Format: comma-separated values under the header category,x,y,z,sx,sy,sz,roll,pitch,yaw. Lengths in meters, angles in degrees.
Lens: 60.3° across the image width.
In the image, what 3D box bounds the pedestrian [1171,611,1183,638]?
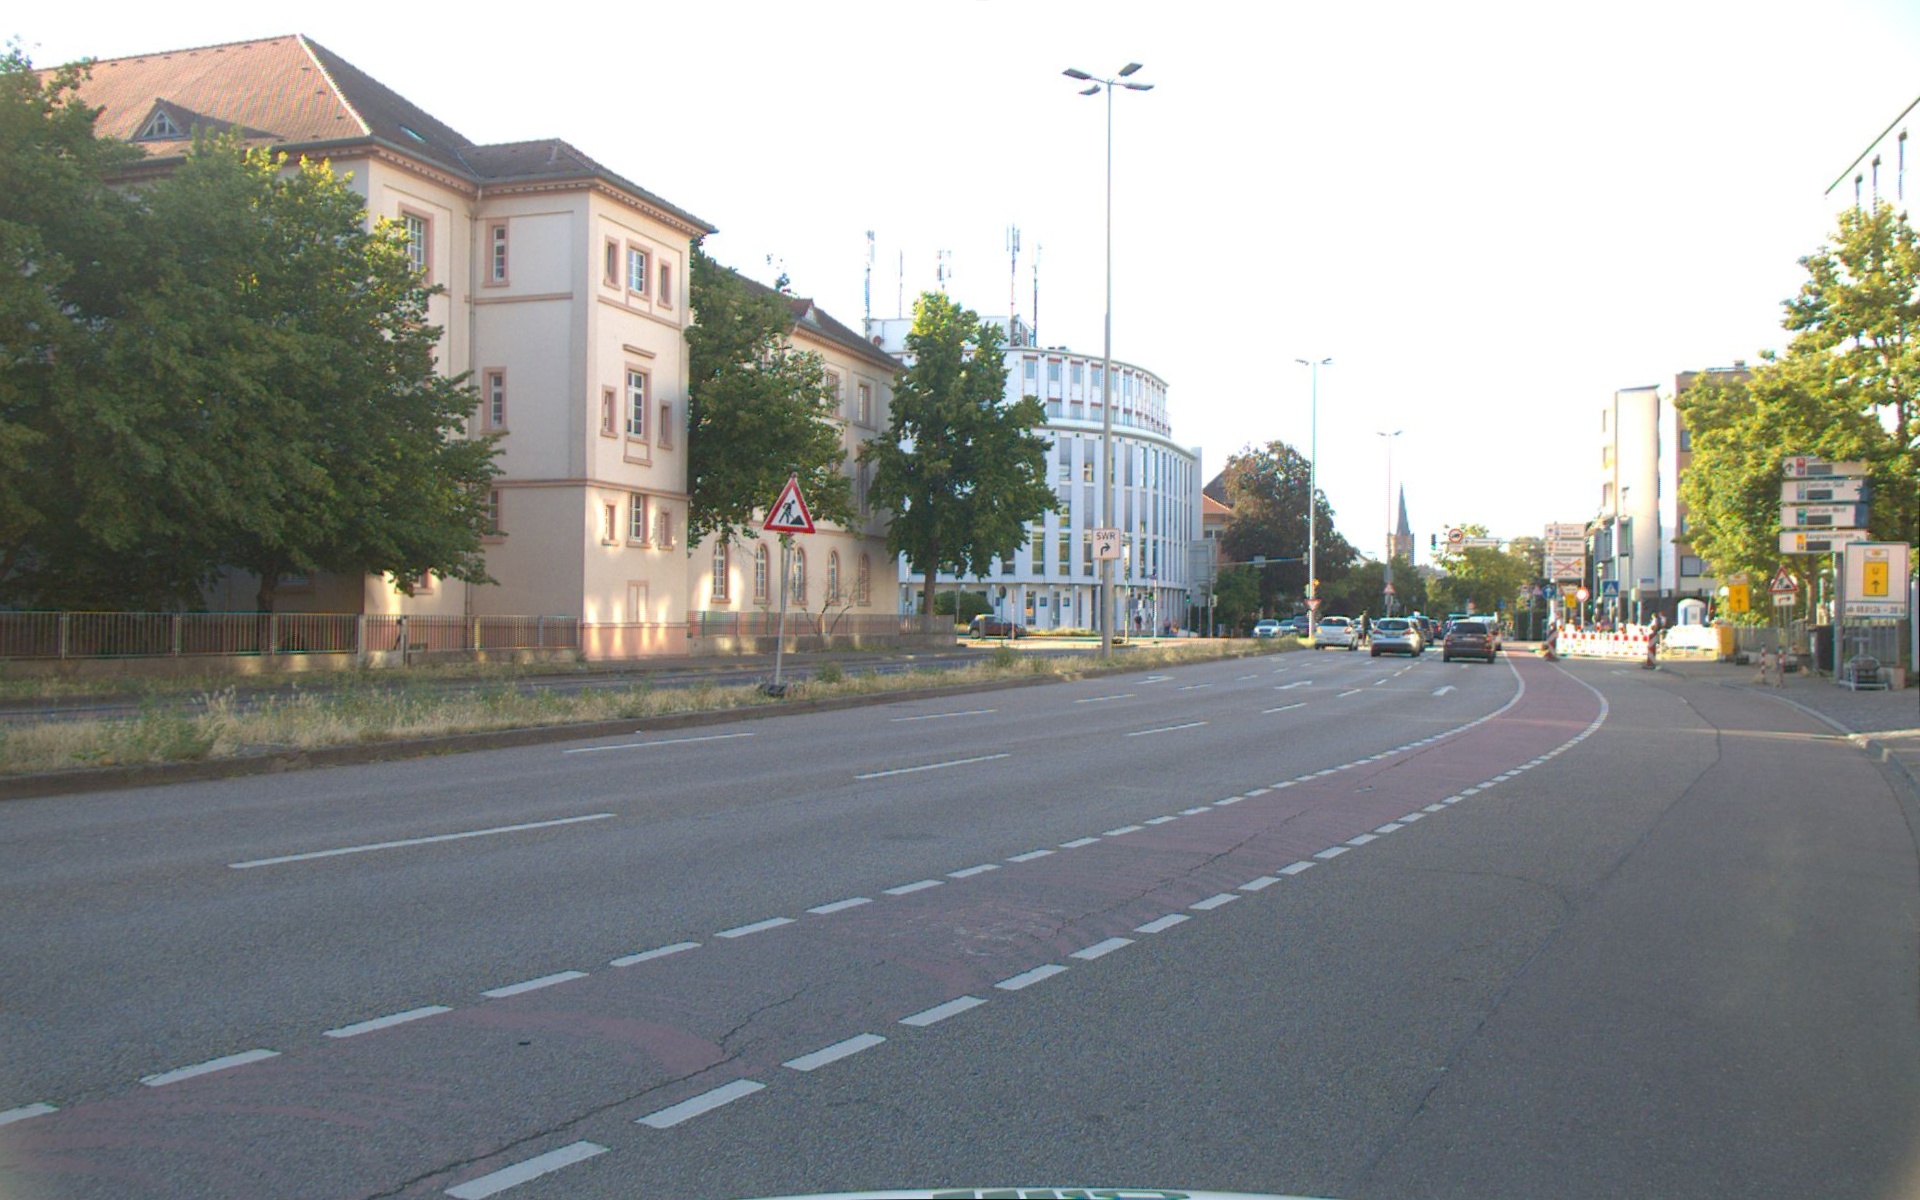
category,x,y,z,sx,sy,sz,roll,pitch,yaw
pedestrian,15.088,1.717,114.947,0.613,1.901,1.127,0,-1,19

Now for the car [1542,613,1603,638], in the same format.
category,x,y,z,sx,sy,sz,roll,pitch,yaw
car,47.082,1.937,127.191,4.271,1.910,2.001,0,-1,16

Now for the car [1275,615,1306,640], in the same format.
category,x,y,z,sx,sy,sz,roll,pitch,yaw
car,26.299,2.172,131.384,1.803,1.848,4.000,-2,-3,20

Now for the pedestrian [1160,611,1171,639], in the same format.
category,x,y,z,sx,sy,sz,roll,pitch,yaw
pedestrian,14.352,1.737,115.288,0.646,1.901,0.779,0,-1,16

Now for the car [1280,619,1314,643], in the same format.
category,x,y,z,sx,sy,sz,roll,pitch,yaw
car,23.551,2.154,115.454,1.951,1.606,4.902,0,-1,17

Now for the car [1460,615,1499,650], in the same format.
category,x,y,z,sx,sy,sz,roll,pitch,yaw
car,26.003,1.610,82.850,1.781,1.669,4.002,0,-1,16

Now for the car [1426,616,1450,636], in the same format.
category,x,y,z,sx,sy,sz,roll,pitch,yaw
car,35.199,1.935,121.853,1.555,1.452,3.824,0,-1,18

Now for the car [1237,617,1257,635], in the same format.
category,x,y,z,sx,sy,sz,roll,pitch,yaw
car,26.442,2.403,152.355,1.801,1.599,4.003,0,-1,11

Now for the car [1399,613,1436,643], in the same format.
category,x,y,z,sx,sy,sz,roll,pitch,yaw
car,23.430,1.428,84.653,1.646,1.530,3.724,0,-1,18

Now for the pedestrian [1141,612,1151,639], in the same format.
category,x,y,z,sx,sy,sz,roll,pitch,yaw
pedestrian,13.108,1.811,116.691,0.646,1.891,0.779,0,-1,6

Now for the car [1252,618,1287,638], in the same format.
category,x,y,z,sx,sy,sz,roll,pitch,yaw
car,22.857,2.080,122.062,1.952,1.438,4.445,-1,-1,18

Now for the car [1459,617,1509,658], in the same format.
category,x,y,z,sx,sy,sz,roll,pitch,yaw
car,20.625,1.489,65.039,1.719,1.516,3.723,-2,-3,20

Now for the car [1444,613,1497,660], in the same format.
category,x,y,z,sx,sy,sz,roll,pitch,yaw
car,17.903,1.242,57.953,1.711,1.591,4.051,0,-1,18

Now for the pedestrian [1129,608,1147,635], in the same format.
category,x,y,z,sx,sy,sz,roll,pitch,yaw
pedestrian,13.677,1.626,126.986,1.071,2.049,1.034,0,-1,28

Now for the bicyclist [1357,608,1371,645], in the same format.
category,x,y,z,sx,sy,sz,roll,pitch,yaw
bicyclist,19.624,1.278,80.335,0.676,1.758,0.988,0,-1,14

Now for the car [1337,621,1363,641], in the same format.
category,x,y,z,sx,sy,sz,roll,pitch,yaw
car,29.303,2.306,124.326,1.808,1.487,4.052,0,-1,15

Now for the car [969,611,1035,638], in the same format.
category,x,y,z,sx,sy,sz,roll,pitch,yaw
car,2.580,1.533,101.924,3.727,1.557,1.864,-1,-3,15

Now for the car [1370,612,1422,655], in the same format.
category,x,y,z,sx,sy,sz,roll,pitch,yaw
car,17.021,1.281,64.472,1.711,1.591,4.051,0,-1,18

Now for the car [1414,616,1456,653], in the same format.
category,x,y,z,sx,sy,sz,roll,pitch,yaw
car,21.234,1.515,73.855,1.711,1.591,4.051,0,-1,18

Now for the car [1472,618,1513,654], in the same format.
category,x,y,z,sx,sy,sz,roll,pitch,yaw
car,24.870,1.654,77.232,1.692,1.606,3.723,0,-1,20

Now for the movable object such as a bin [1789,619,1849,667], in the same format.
category,x,y,z,sx,sy,sz,roll,pitch,yaw
movable object such as a bin,24.406,1.214,46.999,1.188,1.368,1.055,0,-1,2

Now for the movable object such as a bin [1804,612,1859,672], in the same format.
category,x,y,z,sx,sy,sz,roll,pitch,yaw
movable object such as a bin,23.058,1.120,43.804,1.069,1.534,1.254,0,-3,18

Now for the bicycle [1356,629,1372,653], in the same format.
category,x,y,z,sx,sy,sz,roll,pitch,yaw
bicycle,19.652,1.995,80.418,0.685,1.119,2.259,0,-1,15

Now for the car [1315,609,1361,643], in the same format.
category,x,y,z,sx,sy,sz,roll,pitch,yaw
car,17.285,1.180,75.609,1.650,1.482,4.001,1,0,18

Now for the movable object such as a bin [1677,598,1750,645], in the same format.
category,x,y,z,sx,sy,sz,roll,pitch,yaw
movable object such as a bin,38.936,1.098,85.560,3.258,2.425,1.530,0,-1,17
